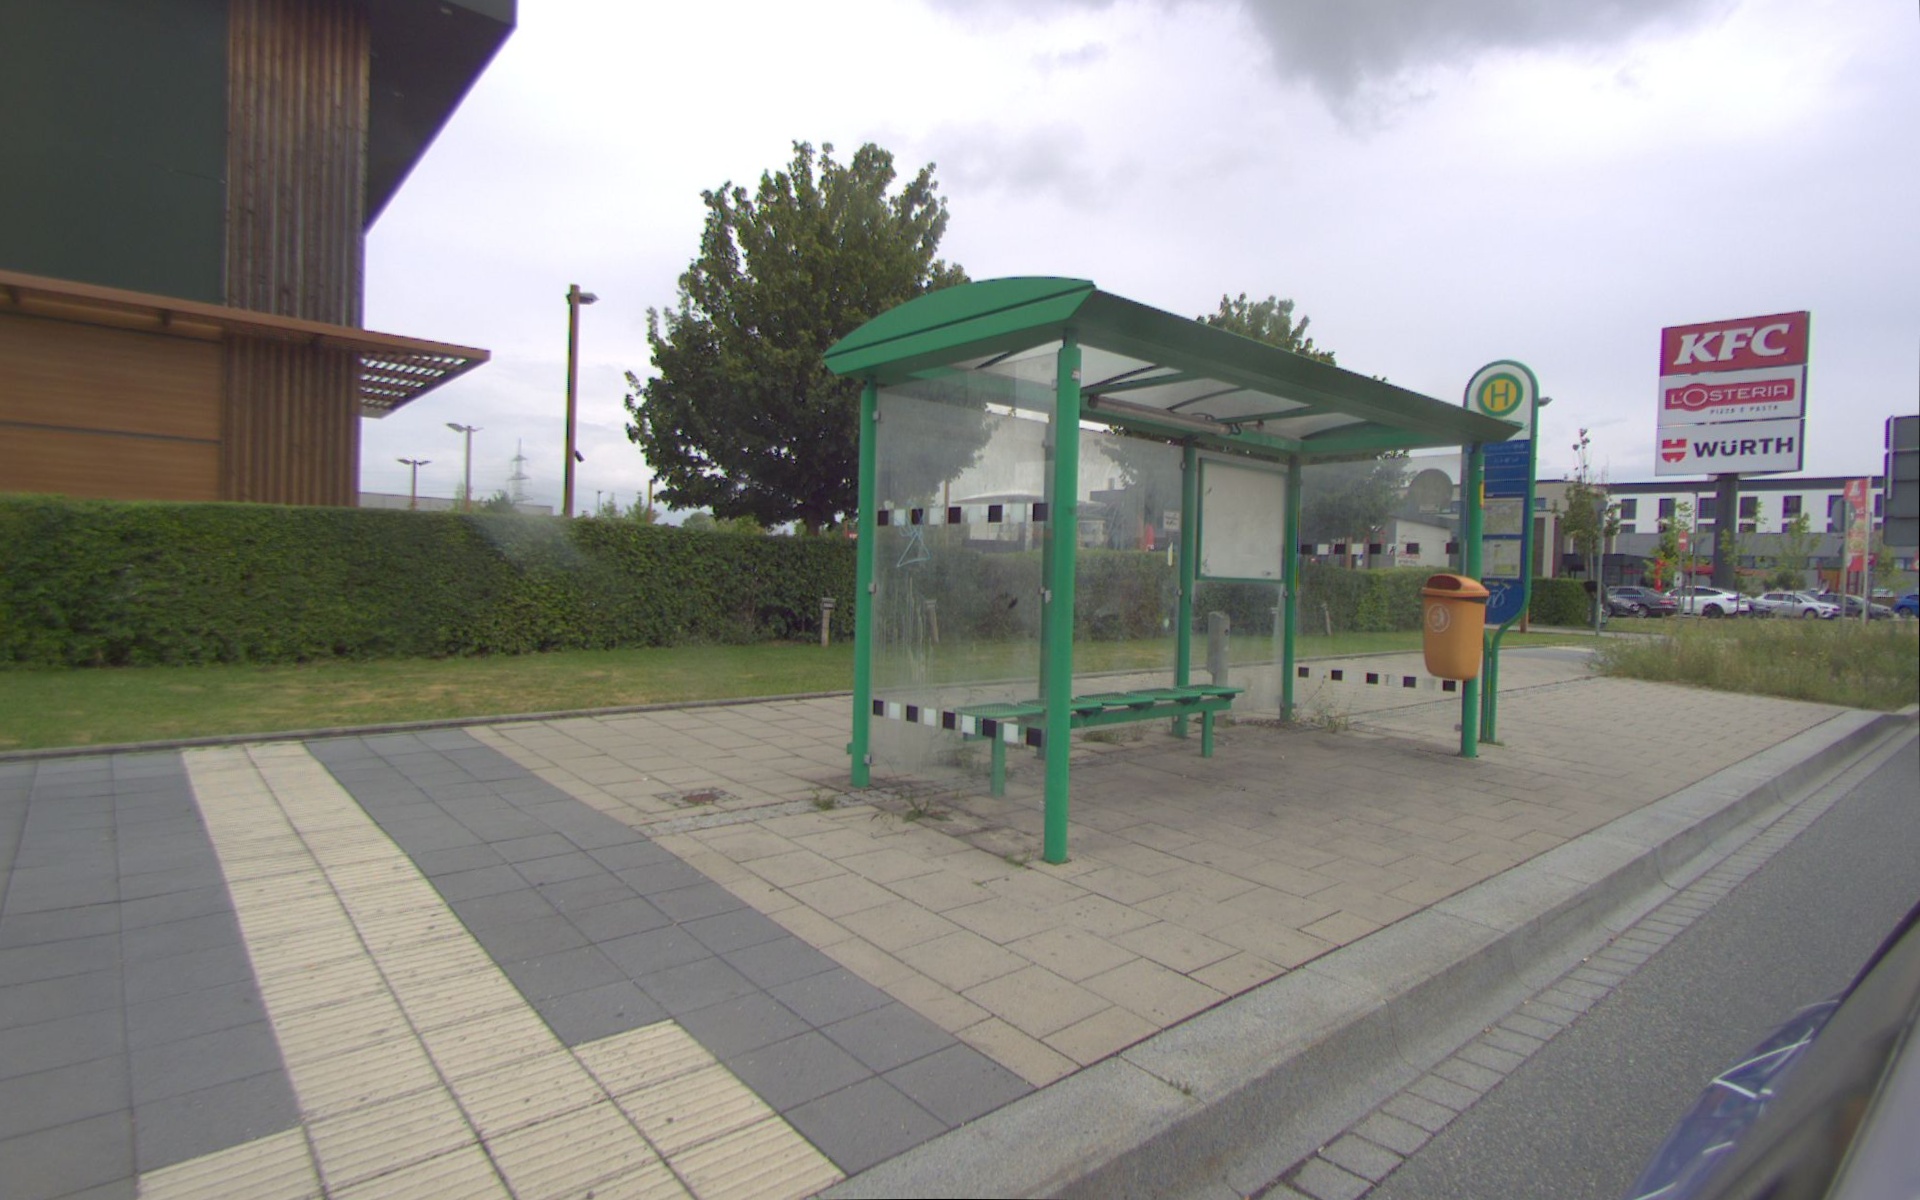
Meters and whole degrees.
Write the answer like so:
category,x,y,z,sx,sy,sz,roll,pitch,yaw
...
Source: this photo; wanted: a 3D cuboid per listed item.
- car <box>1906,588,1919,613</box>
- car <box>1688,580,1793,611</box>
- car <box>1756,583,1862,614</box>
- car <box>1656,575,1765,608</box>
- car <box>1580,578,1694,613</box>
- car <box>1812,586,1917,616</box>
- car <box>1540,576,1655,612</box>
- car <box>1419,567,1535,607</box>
category,x,y,z,sx,sy,sz,roll,pitch,yaw
car,59.417,0.011,60.349,1.809,1.504,4.007,-1,1,-23
car,41.370,-0.249,53.705,1.811,1.504,4.003,1,2,-32
car,46.174,-0.091,55.098,1.809,1.504,4.007,1,2,-28
car,37.480,-0.446,50.637,1.811,1.541,4.004,1,2,-32
car,31.529,-0.239,47.229,1.811,1.504,4.004,1,2,-32
car,50.627,0.039,56.713,1.809,1.504,4.007,1,2,-28
car,28.967,-0.287,46.088,1.811,1.504,4.004,1,2,-32
car,21.957,-0.576,43.074,1.814,1.546,3.996,0,2,-39
